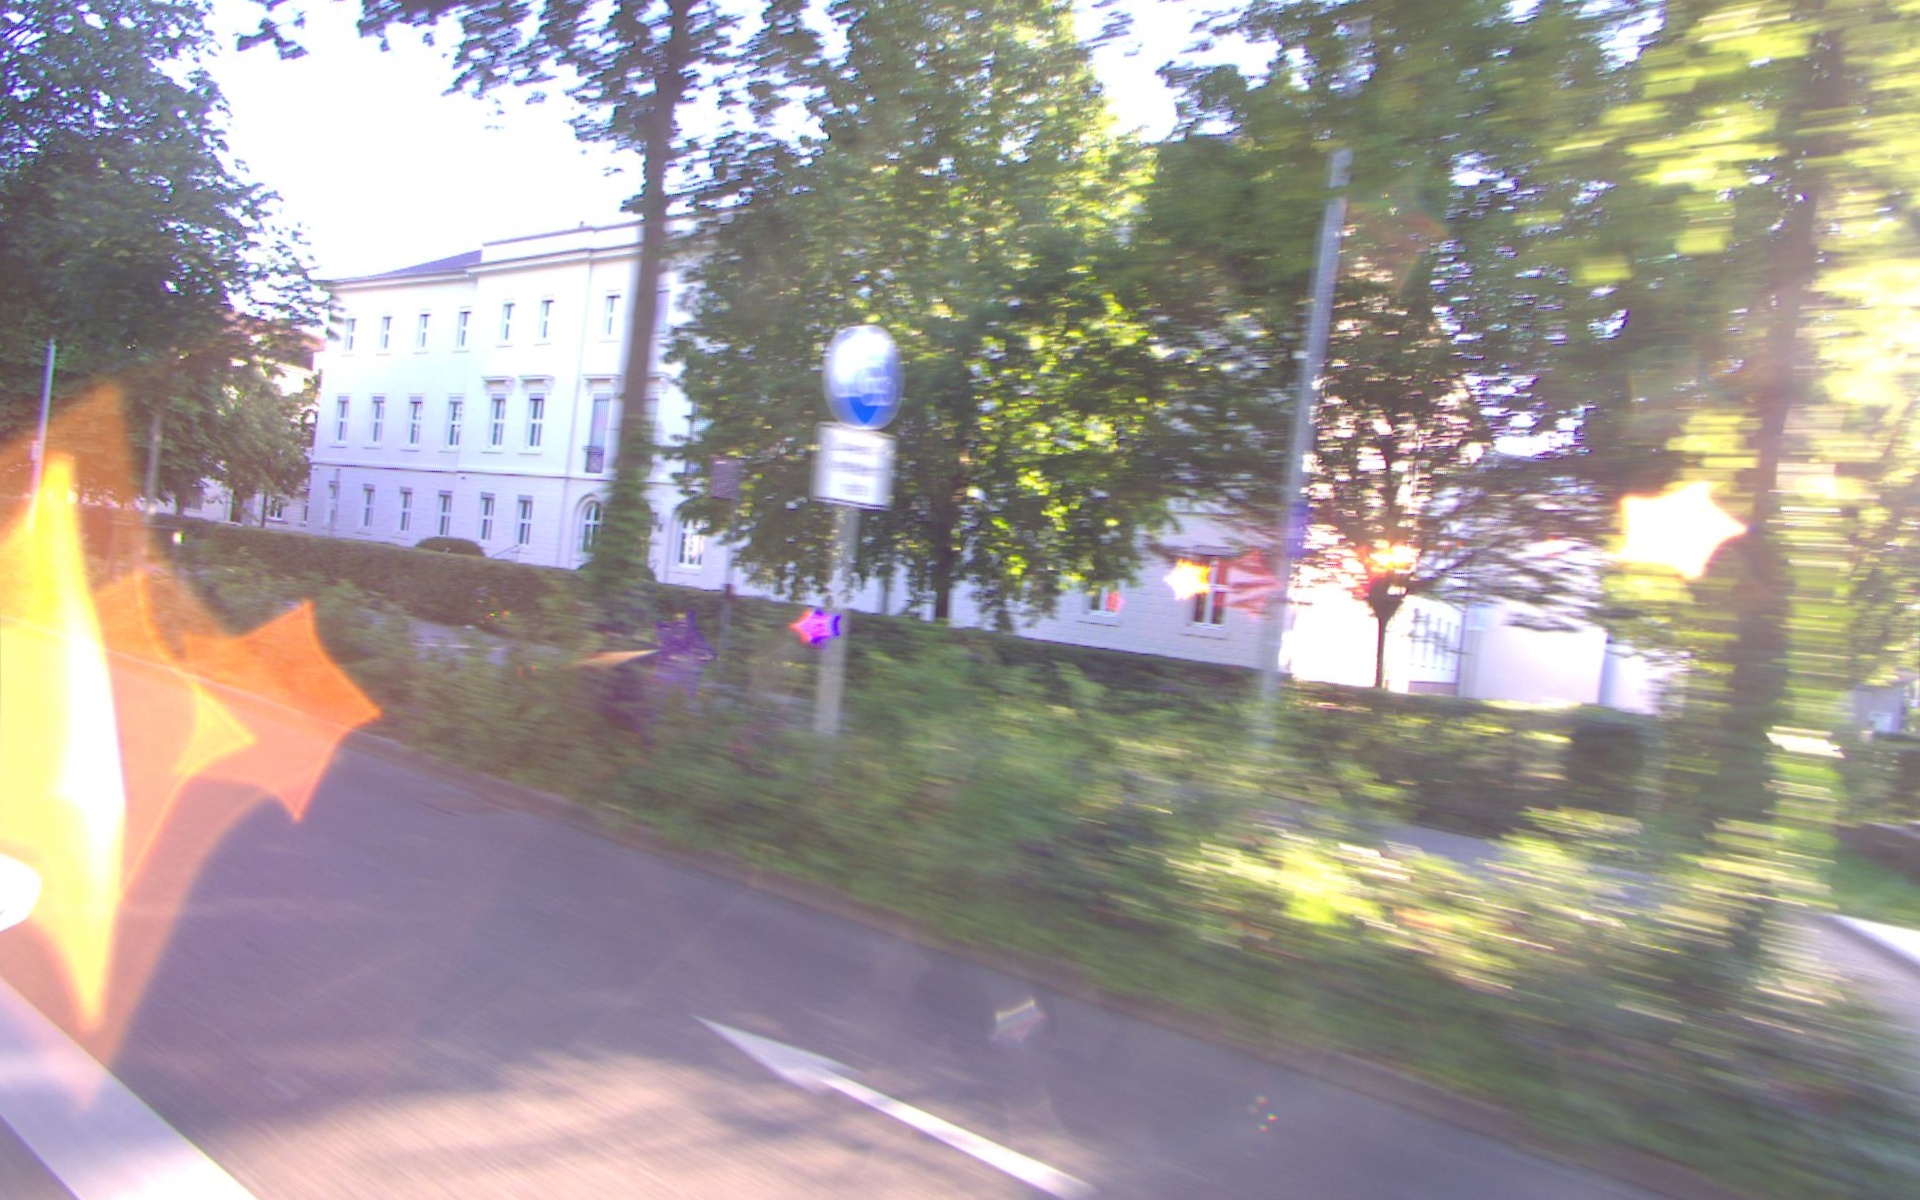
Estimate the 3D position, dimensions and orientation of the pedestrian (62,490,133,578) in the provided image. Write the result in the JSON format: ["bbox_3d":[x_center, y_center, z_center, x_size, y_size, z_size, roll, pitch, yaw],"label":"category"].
[{"bbox_3d":[-18.778,-1.424,21.903,0.793,1.760,0.772,7,0,25],"label":"pedestrian"}]
